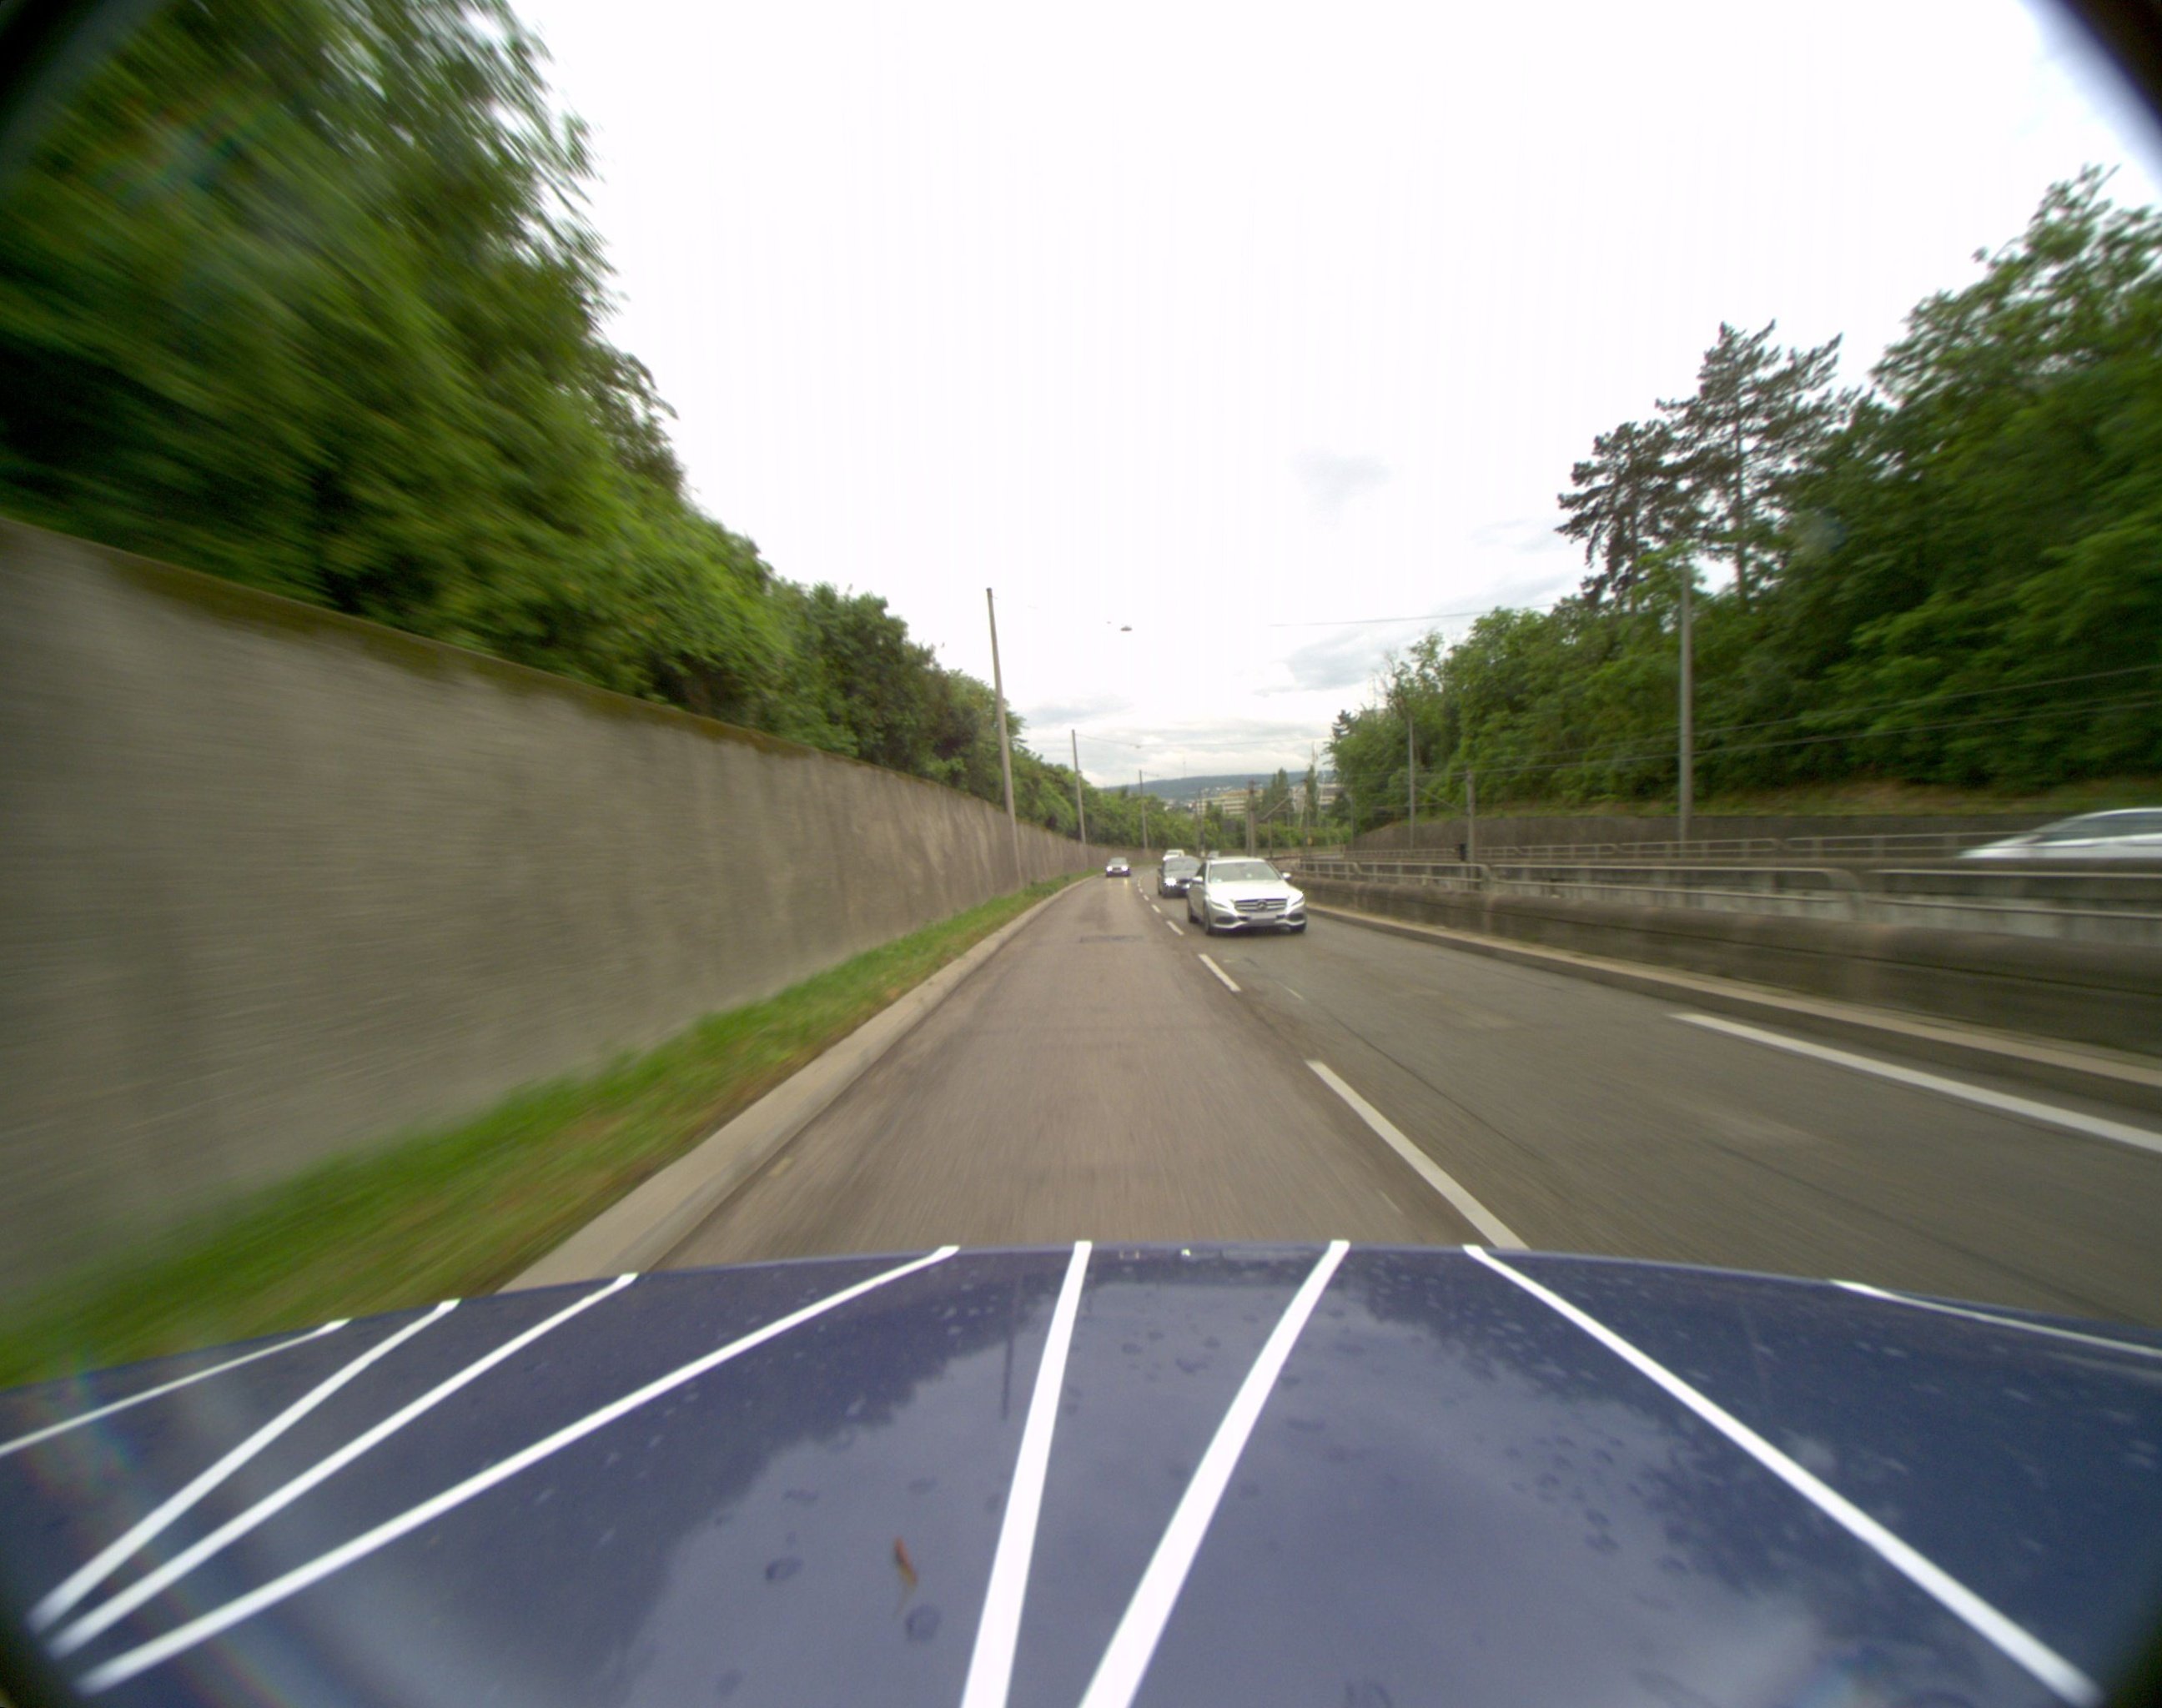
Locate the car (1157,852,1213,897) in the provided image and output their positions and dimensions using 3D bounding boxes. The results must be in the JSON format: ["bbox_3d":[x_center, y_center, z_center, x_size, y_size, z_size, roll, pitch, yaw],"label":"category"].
[{"bbox_3d":[3.777,0.696,28.094,1.729,1.462,3.888,-2,0,3],"label":"car"}]

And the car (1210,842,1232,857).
[{"bbox_3d":[19.670,-0.698,106.673,1.995,2.002,4.501,-1,1,22],"label":"car"}]

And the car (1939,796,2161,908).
[{"bbox_3d":[17.221,-0.070,12.366,1.822,1.694,4.109,-2,1,-2],"label":"car"}]

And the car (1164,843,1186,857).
[{"bbox_3d":[12.089,-0.533,97.154,1.807,1.501,4.003,-4,2,20],"label":"car"}]

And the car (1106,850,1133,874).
[{"bbox_3d":[2.821,0.567,56.978,1.810,1.501,3.999,-5,2,2],"label":"car"}]

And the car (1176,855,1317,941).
[{"bbox_3d":[3.170,0.772,15.443,1.861,1.395,4.314,-3,0,0],"label":"car"}]
